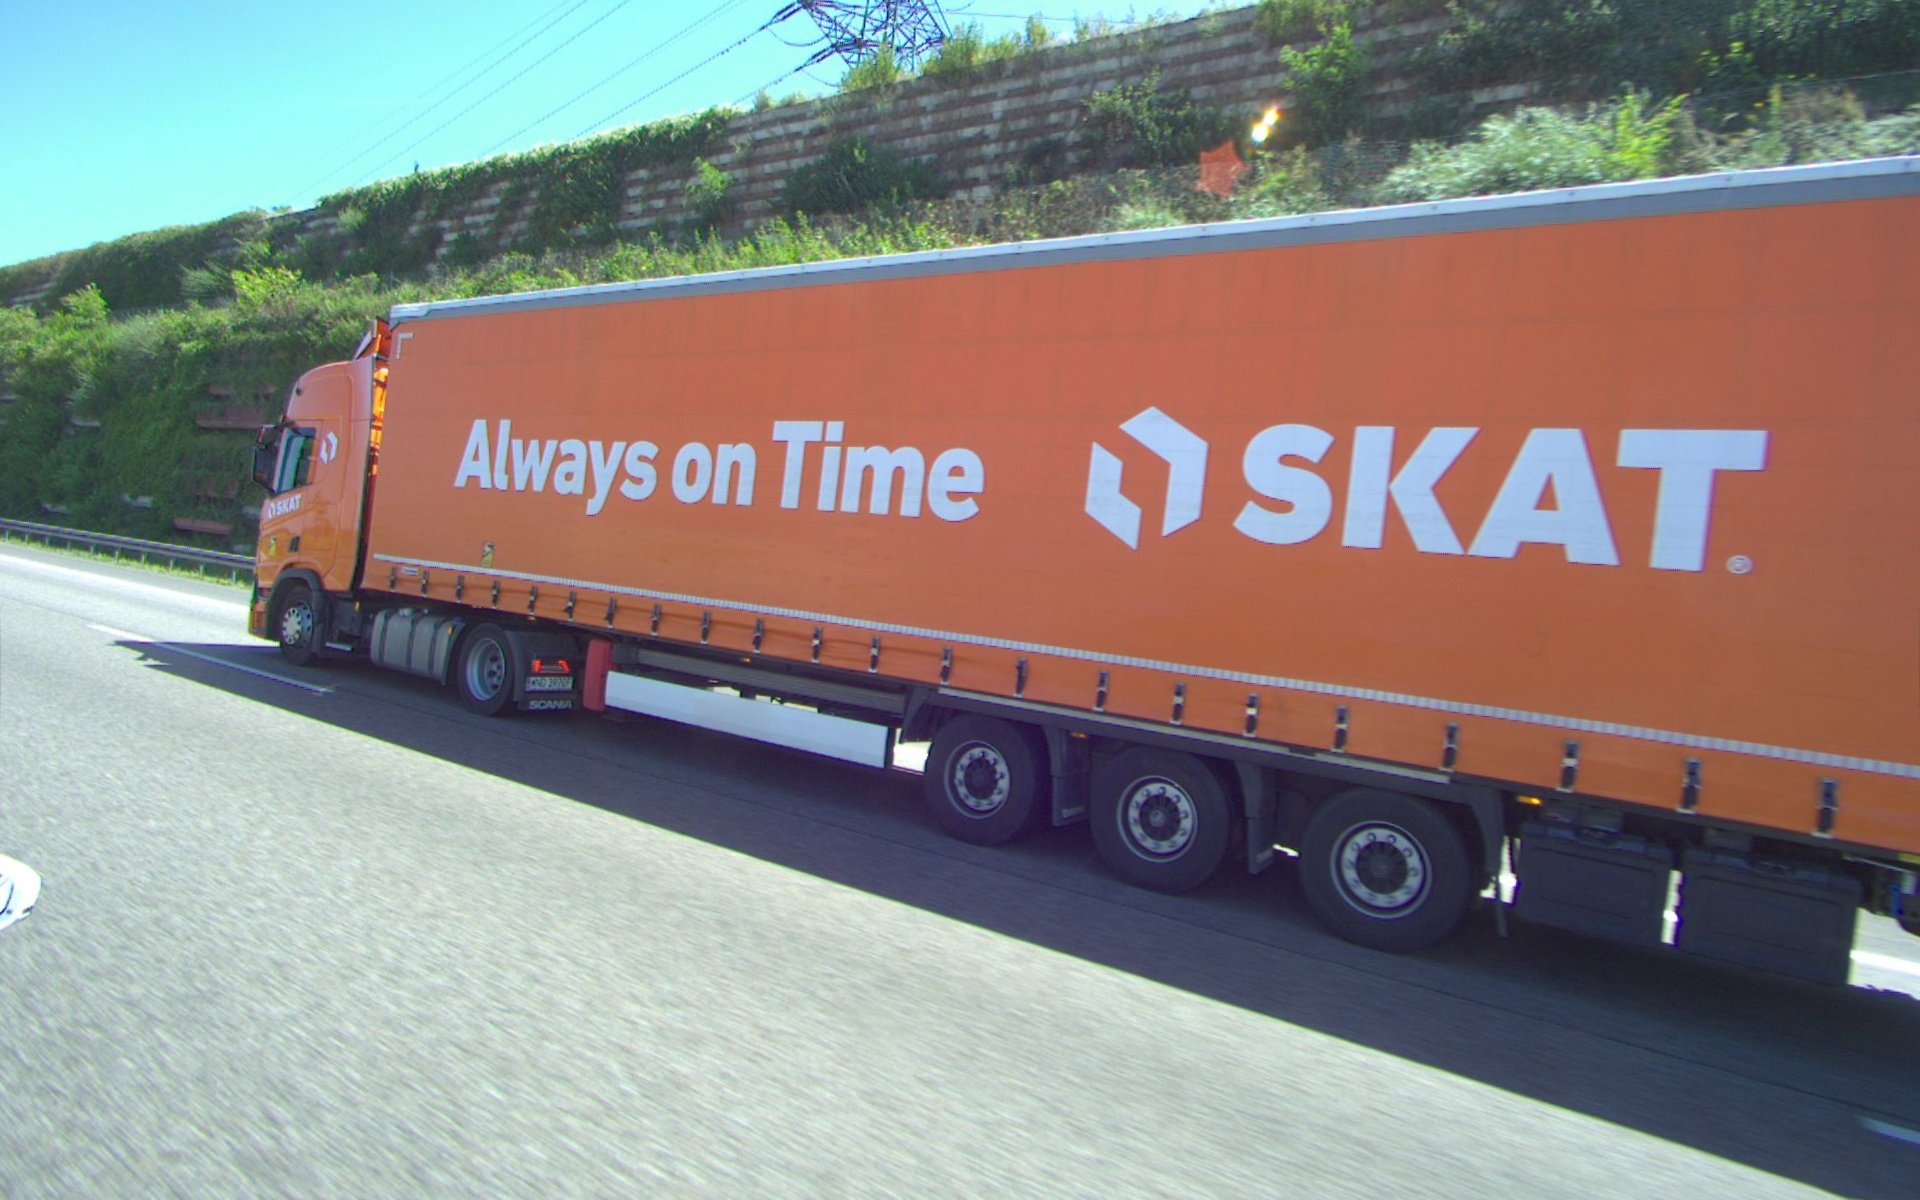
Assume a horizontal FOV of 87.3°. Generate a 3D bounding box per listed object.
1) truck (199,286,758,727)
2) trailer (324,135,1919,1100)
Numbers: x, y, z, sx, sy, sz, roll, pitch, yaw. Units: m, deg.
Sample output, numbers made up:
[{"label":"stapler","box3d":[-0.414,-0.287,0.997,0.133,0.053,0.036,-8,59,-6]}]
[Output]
[{"label":"truck","box3d":[-5.903,-1.053,11.993,6.418,4.041,2.621,7,0,32]},{"label":"trailer","box3d":[-0.330,-0.429,8.510,13.380,4.053,2.649,6,-1,32]}]
